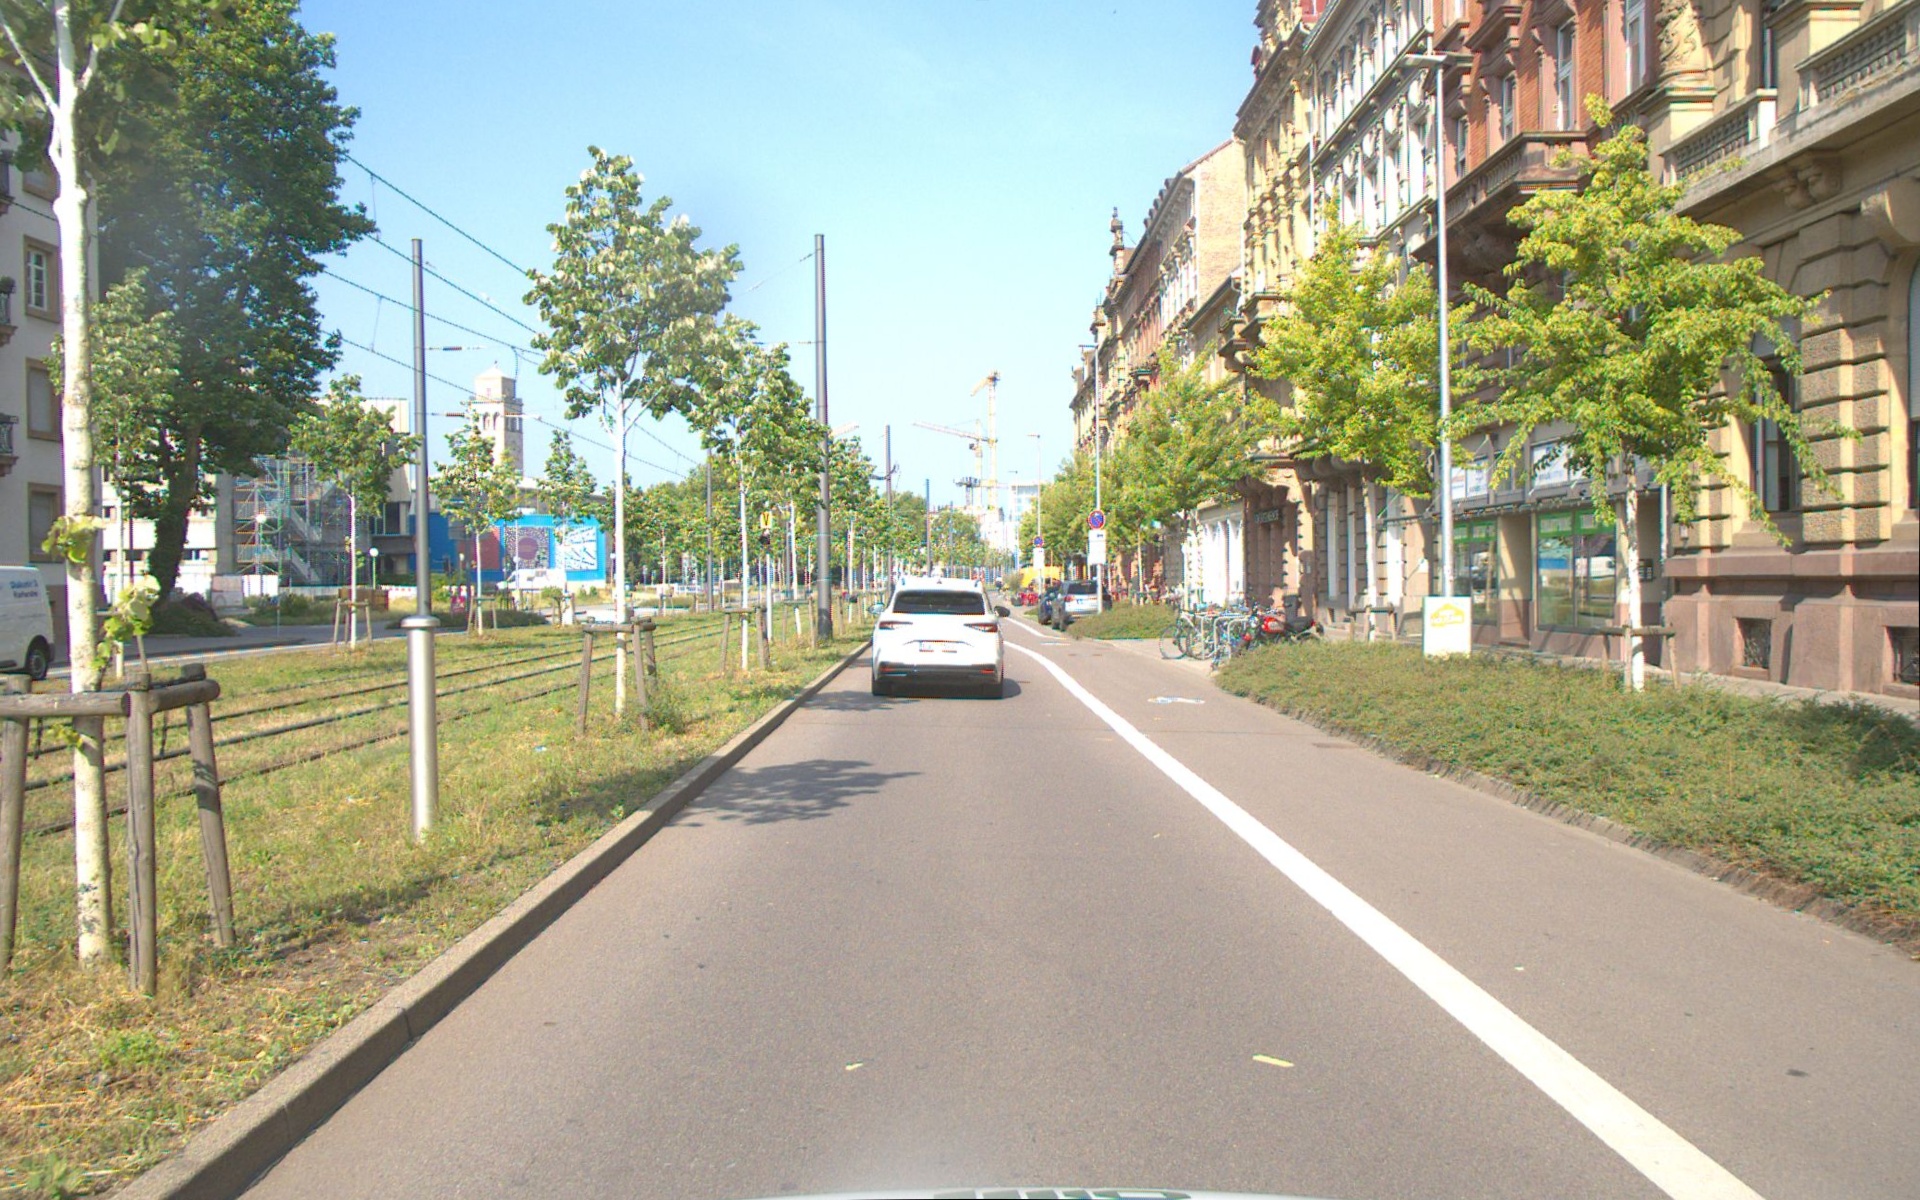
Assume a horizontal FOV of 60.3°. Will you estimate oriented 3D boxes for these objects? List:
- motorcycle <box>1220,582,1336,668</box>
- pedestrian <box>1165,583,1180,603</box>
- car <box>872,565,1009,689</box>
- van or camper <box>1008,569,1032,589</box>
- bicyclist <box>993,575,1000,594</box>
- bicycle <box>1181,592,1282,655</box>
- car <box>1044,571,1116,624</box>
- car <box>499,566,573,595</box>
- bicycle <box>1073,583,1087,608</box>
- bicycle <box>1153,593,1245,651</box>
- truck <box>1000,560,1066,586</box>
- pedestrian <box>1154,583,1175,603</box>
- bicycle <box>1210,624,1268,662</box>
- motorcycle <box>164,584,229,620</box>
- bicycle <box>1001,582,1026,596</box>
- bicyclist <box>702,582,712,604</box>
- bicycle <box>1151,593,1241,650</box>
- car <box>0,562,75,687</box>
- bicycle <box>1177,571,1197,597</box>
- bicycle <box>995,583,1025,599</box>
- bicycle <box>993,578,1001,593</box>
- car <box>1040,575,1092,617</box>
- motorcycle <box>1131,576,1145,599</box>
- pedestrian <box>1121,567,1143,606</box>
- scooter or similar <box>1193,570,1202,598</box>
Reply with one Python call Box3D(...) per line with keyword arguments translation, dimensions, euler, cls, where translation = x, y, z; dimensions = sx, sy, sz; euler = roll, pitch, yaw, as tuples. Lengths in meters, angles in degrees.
Box3D(translation=(5.389, 0.402, 27.941), dimensions=(2.018, 1.309, 0.697), euler=(-4, 2, -35), cls="motorcycle")
Box3D(translation=(9.787, -0.331, 76.195), dimensions=(0.559, 0.869, 0.457), euler=(-3, 1, -6), cls="pedestrian")
Box3D(translation=(-0.269, 0.328, 23.845), dimensions=(1.780, 1.617, 4.406), euler=(0, 1, 0), cls="car")
Box3D(translation=(5.467, -1.918, 151.653), dimensions=(1.953, 1.684, 3.999), euler=(-1, 1, -1), cls="van or camper")
Box3D(translation=(3.862, -1.651, 173.821), dimensions=(0.694, 1.929, 0.843), euler=(-1, 1, 1), cls="bicyclist")
Box3D(translation=(5.256, 0.440, 32.065), dimensions=(1.772, 1.115, 0.671), euler=(-3, 1, -6), cls="bicycle")
Box3D(translation=(3.931, -0.122, 54.733), dimensions=(1.734, 1.616, 4.245), euler=(-2, 1, -4), cls="car")
Box3D(translation=(-41.484, -1.919, 161.931), dimensions=(6.777, 2.684, 2.498), euler=(1, 0, -22), cls="car")
Box3D(translation=(5.521, -0.213, 76.139), dimensions=(0.482, 1.113, 1.826), euler=(-1, 1, 0), cls="bicycle")
Box3D(translation=(4.798, 0.434, 33.254), dimensions=(1.749, 1.072, 0.372), euler=(-3, 1, -2), cls="bicycle")
Box3D(translation=(6.887, -2.506, 155.694), dimensions=(5.747, 2.358, 2.221), euler=(-1, 1, 18), cls="truck")
Box3D(translation=(9.624, -0.347, 77.889), dimensions=(0.860, 0.892, 0.710), euler=(-3, 1, -4), cls="pedestrian")
Box3D(translation=(4.942, 0.753, 29.315), dimensions=(0.938, 0.620, 0.360), euler=(-3, 0, 1), cls="bicycle")
Box3D(translation=(-30.946, 0.073, 67.039), dimensions=(2.273, 1.392, 0.807), euler=(-1, 1, -38), cls="motorcycle")
Box3D(translation=(4.135, -0.834, 128.317), dimensions=(1.894, 1.003, 0.471), euler=(-3, 1, 1), cls="bicycle")
Box3D(translation=(-20.322, -0.543, 132.981), dimensions=(0.634, 1.766, 0.918), euler=(-2, 0, -1), cls="bicyclist")
Box3D(translation=(4.797, 0.431, 33.660), dimensions=(1.749, 1.072, 0.372), euler=(-3, 1, -2), cls="bicycle")
Box3D(translation=(-15.874, 0.404, 25.265), dimensions=(1.953, 1.928, 5.046), euler=(-1, 1, 0), cls="car")
Box3D(translation=(9.994, -0.704, 72.844), dimensions=(0.442, 1.102, 1.445), euler=(-1, 1, -10), cls="bicycle")
Box3D(translation=(3.838, -0.694, 127.152), dimensions=(2.193, 1.123, 0.588), euler=(-3, 1, 1), cls="bicycle")
Box3D(translation=(3.879, -1.557, 173.983), dimensions=(0.765, 1.522, 2.801), euler=(-1, 1, 1), cls="bicycle")
Box3D(translation=(3.957, -0.181, 62.355), dimensions=(1.701, 1.420, 4.715), euler=(-2, 1, 1), cls="car")
Box3D(translation=(9.349, -0.648, 86.764), dimensions=(0.454, 1.196, 1.945), euler=(-3, 1, 0), cls="motorcycle")
Box3D(translation=(7.986, -0.634, 76.648), dimensions=(0.807, 1.726, 0.792), euler=(-3, 1, -5), cls="pedestrian")
Box3D(translation=(9.815, -0.678, 68.356), dimensions=(0.282, 1.154, 1.089), euler=(-1, 1, 5), cls="scooter or similar")
